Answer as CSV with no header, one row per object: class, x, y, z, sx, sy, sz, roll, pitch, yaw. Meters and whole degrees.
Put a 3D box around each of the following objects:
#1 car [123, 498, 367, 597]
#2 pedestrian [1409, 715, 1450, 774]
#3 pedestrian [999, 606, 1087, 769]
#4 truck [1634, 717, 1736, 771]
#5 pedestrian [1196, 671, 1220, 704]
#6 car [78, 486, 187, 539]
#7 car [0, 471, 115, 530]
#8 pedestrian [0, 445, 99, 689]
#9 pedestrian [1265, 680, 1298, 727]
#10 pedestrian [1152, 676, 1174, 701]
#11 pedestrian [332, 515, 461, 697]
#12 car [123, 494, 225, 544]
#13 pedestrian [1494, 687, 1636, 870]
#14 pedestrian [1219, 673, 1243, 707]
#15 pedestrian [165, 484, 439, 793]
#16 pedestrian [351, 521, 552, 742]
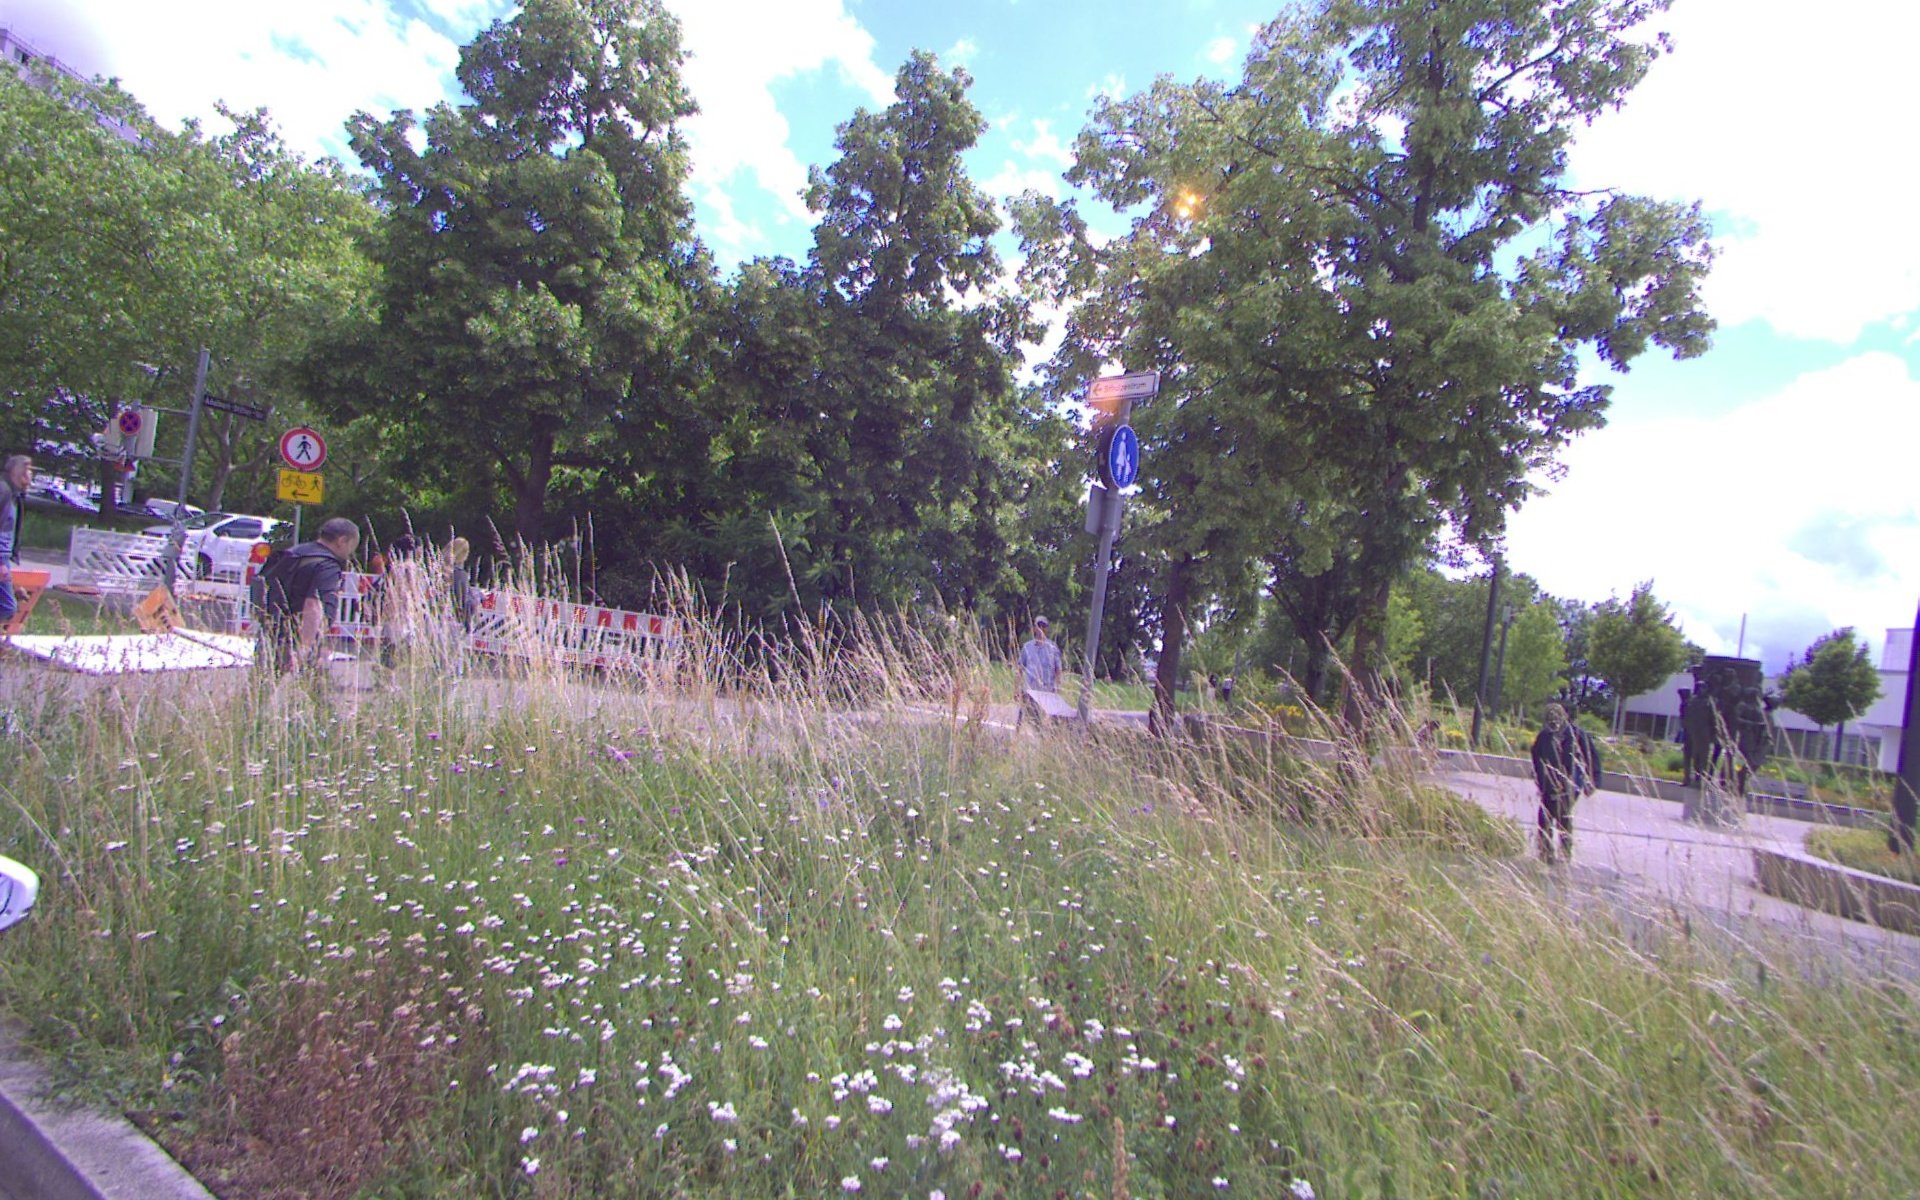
car,-19.715,-1.385,28.051,1.915,1.895,5.090,7,-2,28
pedestrian,10.798,3.312,23.137,0.623,1.236,0.618,7,-1,36
pedestrian,1.013,1.064,12.442,0.758,1.862,0.764,8,-1,-4
truck,37.318,7.396,51.926,1.965,2.037,3.999,8,-1,-4
pedestrian,13.449,4.740,54.572,0.872,1.681,0.817,8,-1,30
car,-43.788,-4.602,53.285,3.926,2.037,2.001,8,-1,0
car,-43.693,-4.778,48.569,3.926,2.037,2.001,8,-1,0
pedestrian,-7.493,-0.289,7.685,0.914,1.794,1.004,7,-1,32
pedestrian,15.279,4.909,47.813,1.137,2.037,0.817,8,0,30
pedestrian,14.096,6.128,69.958,1.135,1.571,0.818,8,-1,-2
pedestrian,-5.920,0.066,10.565,0.817,1.763,0.781,7,0,43
car,-44.243,-4.529,56.688,3.926,2.037,2.001,8,-1,0
pedestrian,6.051,1.772,10.085,0.755,1.644,0.768,8,-1,-24
pedestrian,14.570,4.850,54.128,0.879,1.732,0.817,8,-1,30
pedestrian,-4.000,0.233,6.150,0.866,1.667,0.960,7,-1,32
pedestrian,-4.244,0.271,8.431,0.915,1.667,1.021,7,-1,36
